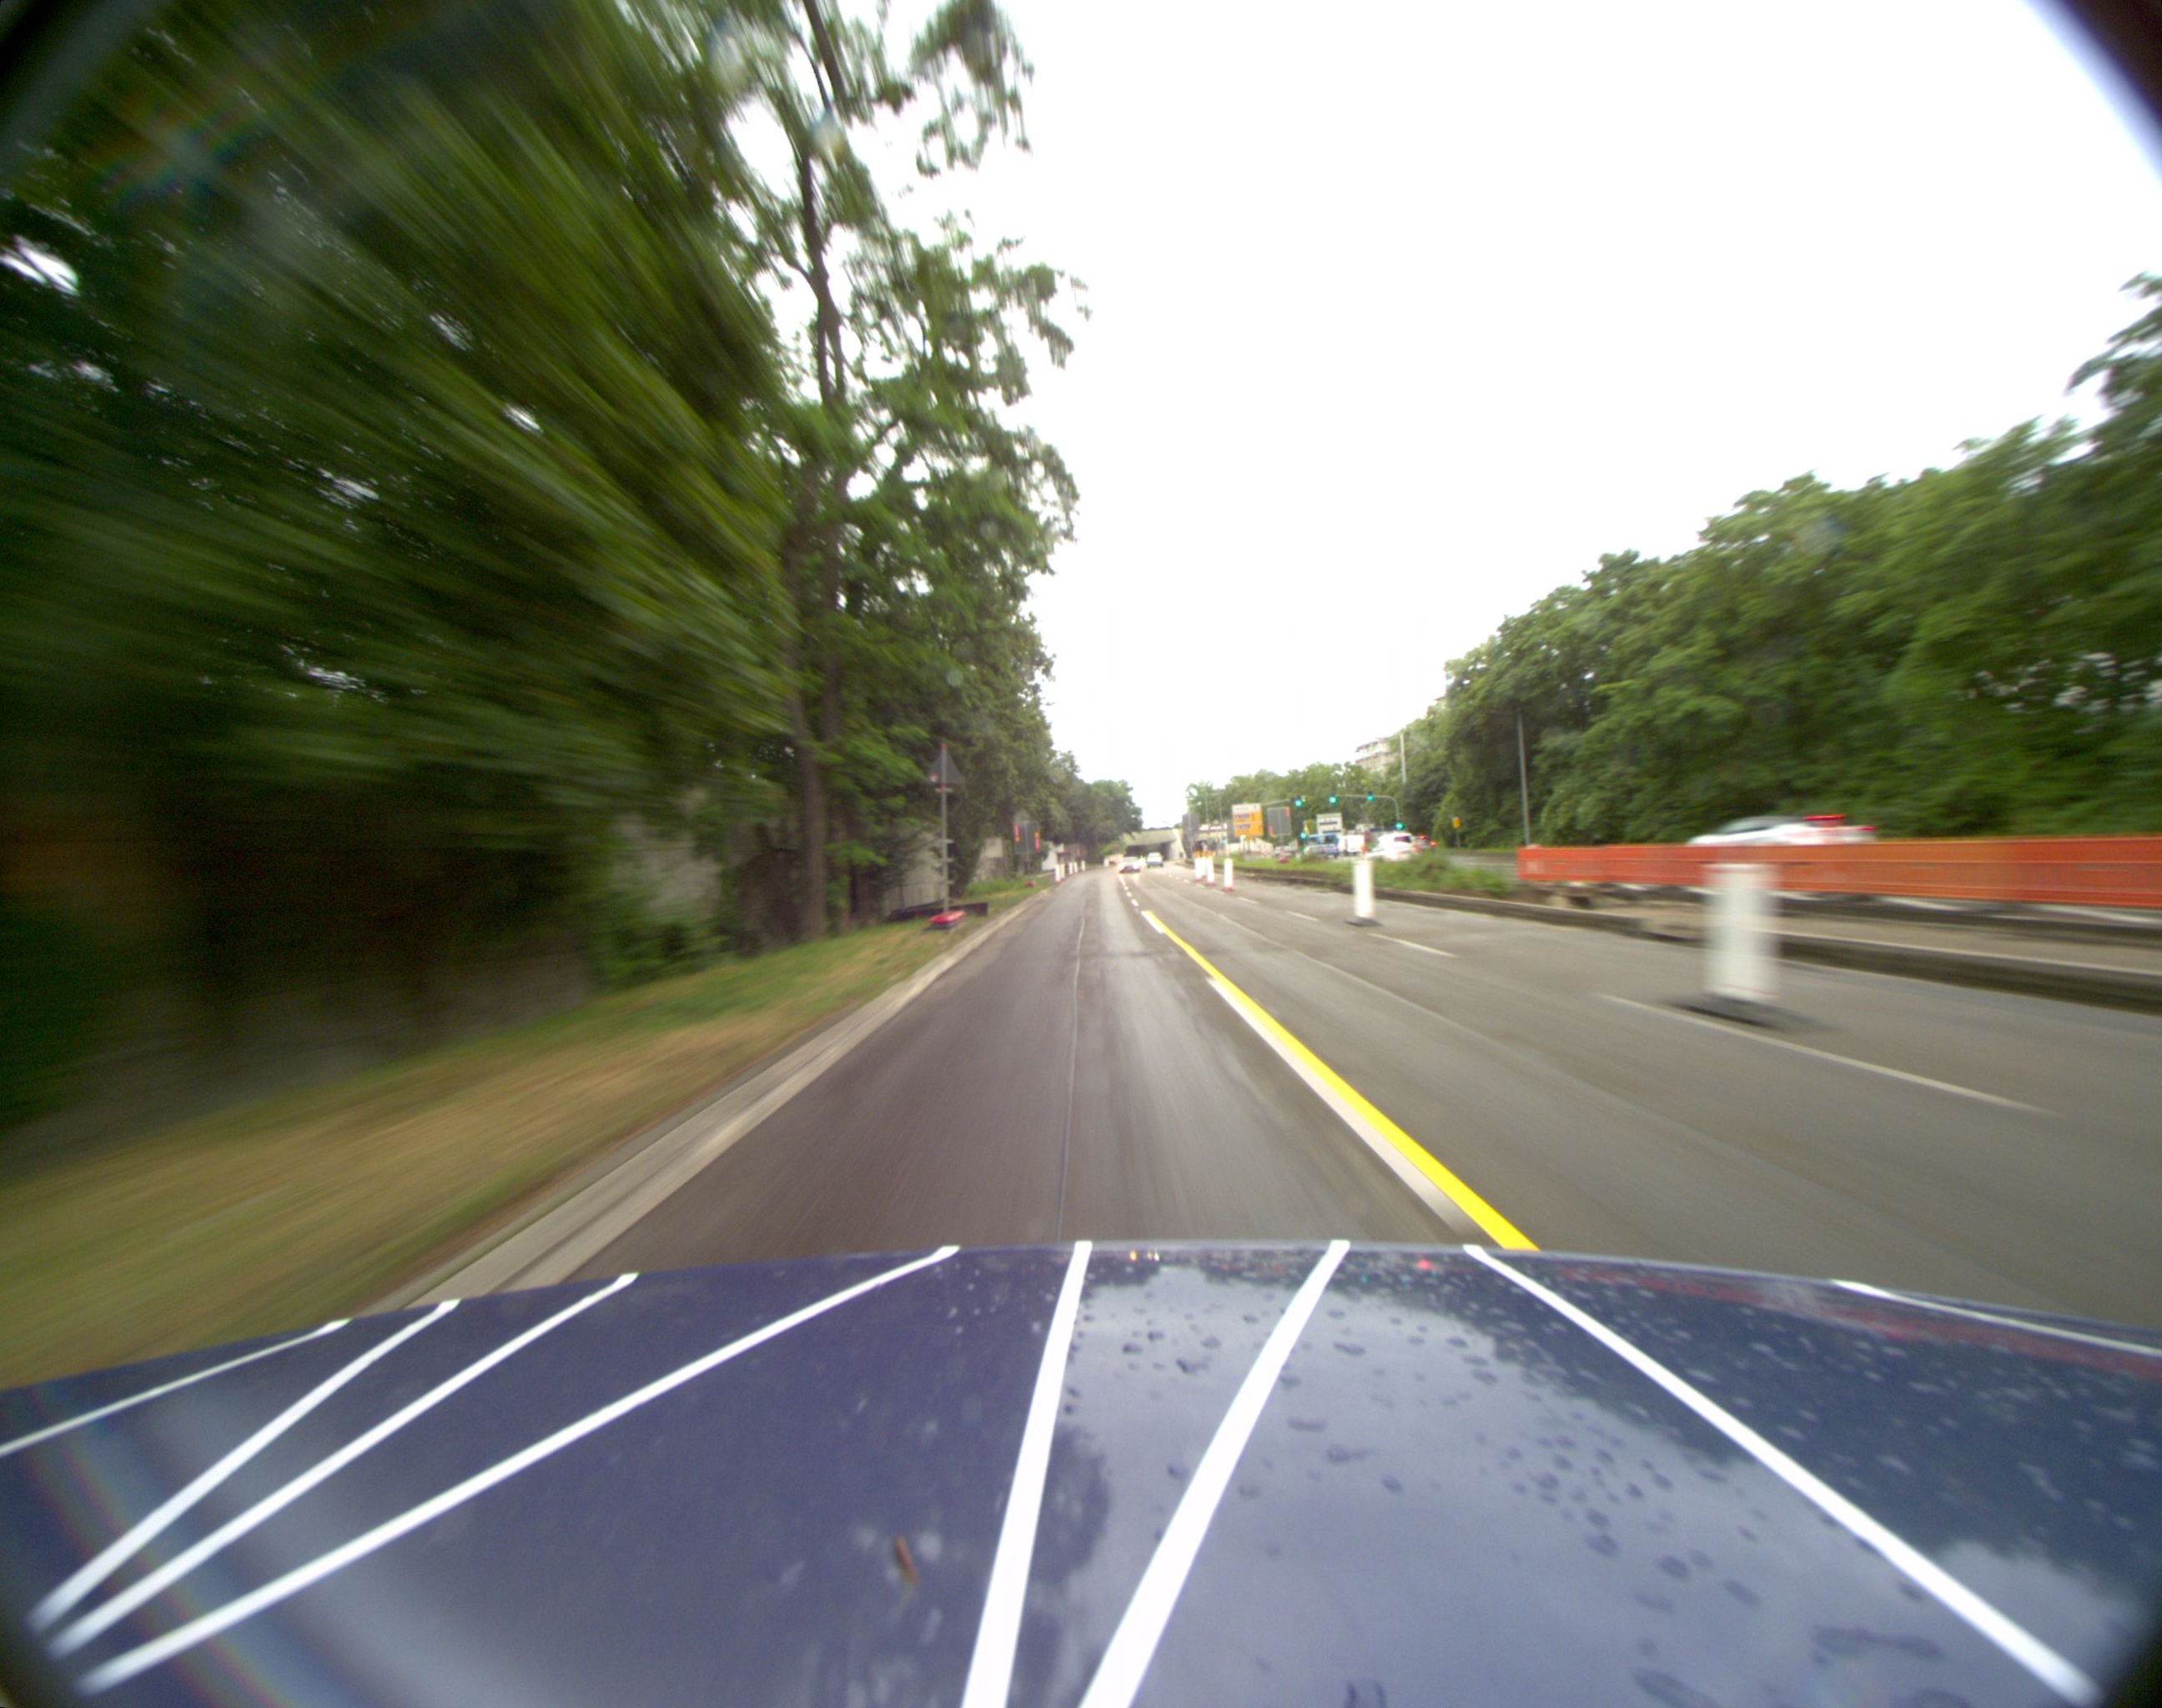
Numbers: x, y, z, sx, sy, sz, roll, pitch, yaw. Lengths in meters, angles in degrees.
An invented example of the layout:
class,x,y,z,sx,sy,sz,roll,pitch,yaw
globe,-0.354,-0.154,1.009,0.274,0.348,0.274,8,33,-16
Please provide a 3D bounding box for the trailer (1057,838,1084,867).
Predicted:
class,x,y,z,sx,sy,sz,roll,pitch,yaw
trailer,-1.317,-0.205,97.488,2.312,3.568,5.963,-3,0,9

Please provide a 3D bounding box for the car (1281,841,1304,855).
class,x,y,z,sx,sy,sz,roll,pitch,yaw
car,20.839,-0.580,74.931,1.552,1.193,4.648,-4,0,8

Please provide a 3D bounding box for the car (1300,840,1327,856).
class,x,y,z,sx,sy,sz,roll,pitch,yaw
car,18.979,-0.476,62.056,1.432,1.193,3.301,-4,0,5

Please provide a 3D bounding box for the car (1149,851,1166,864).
class,x,y,z,sx,sy,sz,roll,pitch,yaw
car,8.781,0.354,86.973,1.697,1.300,3.827,-3,0,9

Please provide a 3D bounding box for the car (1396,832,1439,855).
class,x,y,z,sx,sy,sz,roll,pitch,yaw
car,24.589,-0.741,55.587,1.675,1.514,3.791,-4,0,5

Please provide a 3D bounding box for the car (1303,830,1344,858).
class,x,y,z,sx,sy,sz,roll,pitch,yaw
car,23.068,-0.915,72.585,2.200,2.376,6.247,-4,-1,5

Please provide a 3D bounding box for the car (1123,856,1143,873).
class,x,y,z,sx,sy,sz,roll,pitch,yaw
car,4.838,0.956,71.143,1.697,1.393,3.825,-4,0,3

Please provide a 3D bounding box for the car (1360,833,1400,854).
class,x,y,z,sx,sy,sz,roll,pitch,yaw
car,24.727,-0.852,62.952,1.797,1.514,4.636,-4,0,5

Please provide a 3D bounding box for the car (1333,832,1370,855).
class,x,y,z,sx,sy,sz,roll,pitch,yaw
car,26.644,-1.002,75.022,2.039,1.962,4.992,-4,-1,5

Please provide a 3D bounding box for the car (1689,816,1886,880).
class,x,y,z,sx,sy,sz,roll,pitch,yaw
car,19.751,-0.155,21.525,1.839,1.541,4.040,-3,0,1

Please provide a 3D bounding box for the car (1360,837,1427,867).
class,x,y,z,sx,sy,sz,roll,pitch,yaw
car,17.230,-0.100,42.130,1.860,1.477,4.679,-3,0,2

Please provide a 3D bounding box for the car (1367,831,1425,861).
class,x,y,z,sx,sy,sz,roll,pitch,yaw
car,21.192,-0.487,51.377,1.919,1.770,4.834,-4,-1,1
